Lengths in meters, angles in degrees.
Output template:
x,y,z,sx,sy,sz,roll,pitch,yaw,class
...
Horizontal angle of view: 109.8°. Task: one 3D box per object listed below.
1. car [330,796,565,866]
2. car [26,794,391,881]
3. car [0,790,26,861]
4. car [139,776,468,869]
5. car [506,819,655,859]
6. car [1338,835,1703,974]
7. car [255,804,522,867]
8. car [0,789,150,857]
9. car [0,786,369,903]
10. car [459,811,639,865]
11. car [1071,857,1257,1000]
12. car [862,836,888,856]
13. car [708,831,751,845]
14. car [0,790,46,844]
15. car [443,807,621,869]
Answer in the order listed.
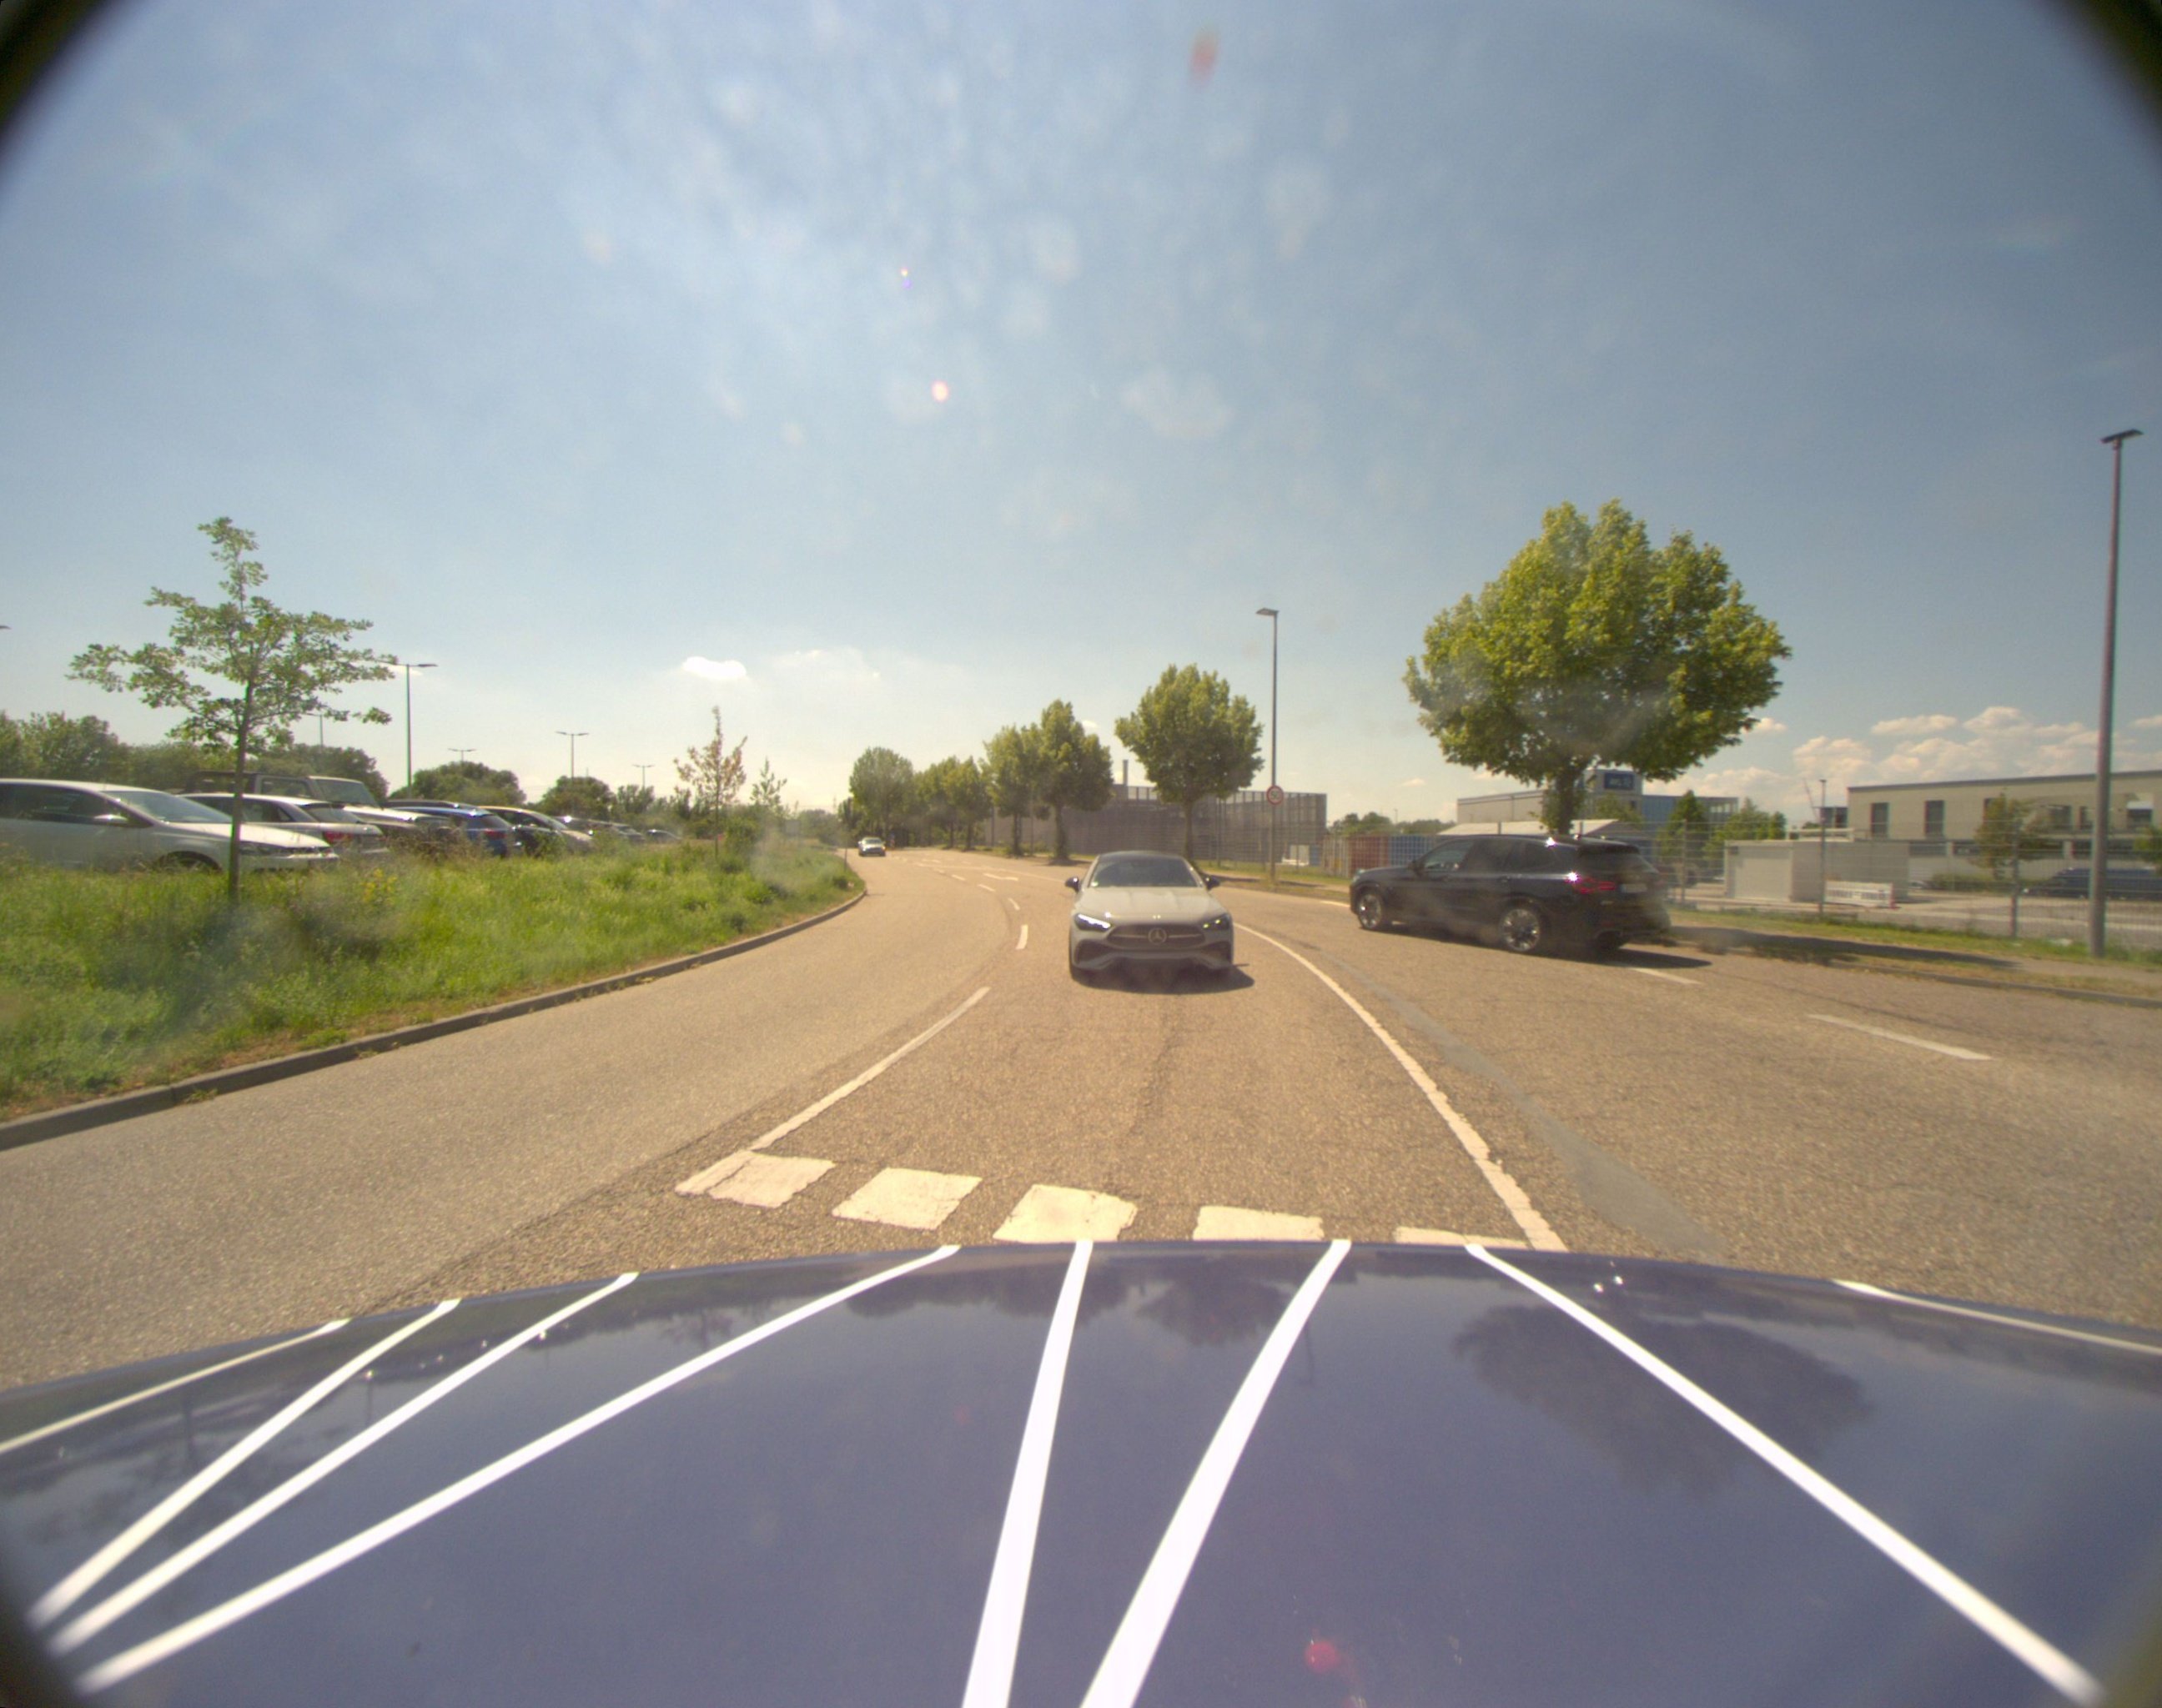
x,y,z,sx,sy,sz,roll,pitch,yaw,class
-15.500,-0.616,18.878,4.043,1.422,1.684,-5,4,-21,car
-12.918,-0.258,11.517,3.274,1.175,1.498,0,4,-19,car
-25.361,-0.566,15.925,3.423,1.565,1.518,-2,3,-22,car
-14.005,-0.563,13.988,3.750,1.519,1.873,1,3,-14,car
-17.644,-0.565,26.993,4.003,1.285,1.905,-2,3,-18,car
6.324,0.570,11.667,1.872,1.625,4.588,1,2,-23,car
-14.797,-0.414,16.522,3.951,1.251,1.582,0,4,-22,car
-26.268,-0.758,18.639,3.883,1.591,1.736,-2,3,-22,car
-11.642,-0.147,9.330,3.881,1.290,1.571,0,4,-18,car
-16.967,-0.507,24.483,4.407,1.537,1.811,1,2,-20,car
0.842,0.787,10.254,1.897,1.375,4.631,0,1,-1,car
-15.814,-0.623,58.226,1.675,1.367,4.488,-2,3,-18,car
-37.059,-1.718,80.223,4.004,1.344,1.643,-2,3,-23,car
-31.653,-1.085,20.738,3.644,1.491,1.765,2,2,-21,car
-15.669,-0.438,21.919,3.854,1.615,1.614,1,2,-22,car
